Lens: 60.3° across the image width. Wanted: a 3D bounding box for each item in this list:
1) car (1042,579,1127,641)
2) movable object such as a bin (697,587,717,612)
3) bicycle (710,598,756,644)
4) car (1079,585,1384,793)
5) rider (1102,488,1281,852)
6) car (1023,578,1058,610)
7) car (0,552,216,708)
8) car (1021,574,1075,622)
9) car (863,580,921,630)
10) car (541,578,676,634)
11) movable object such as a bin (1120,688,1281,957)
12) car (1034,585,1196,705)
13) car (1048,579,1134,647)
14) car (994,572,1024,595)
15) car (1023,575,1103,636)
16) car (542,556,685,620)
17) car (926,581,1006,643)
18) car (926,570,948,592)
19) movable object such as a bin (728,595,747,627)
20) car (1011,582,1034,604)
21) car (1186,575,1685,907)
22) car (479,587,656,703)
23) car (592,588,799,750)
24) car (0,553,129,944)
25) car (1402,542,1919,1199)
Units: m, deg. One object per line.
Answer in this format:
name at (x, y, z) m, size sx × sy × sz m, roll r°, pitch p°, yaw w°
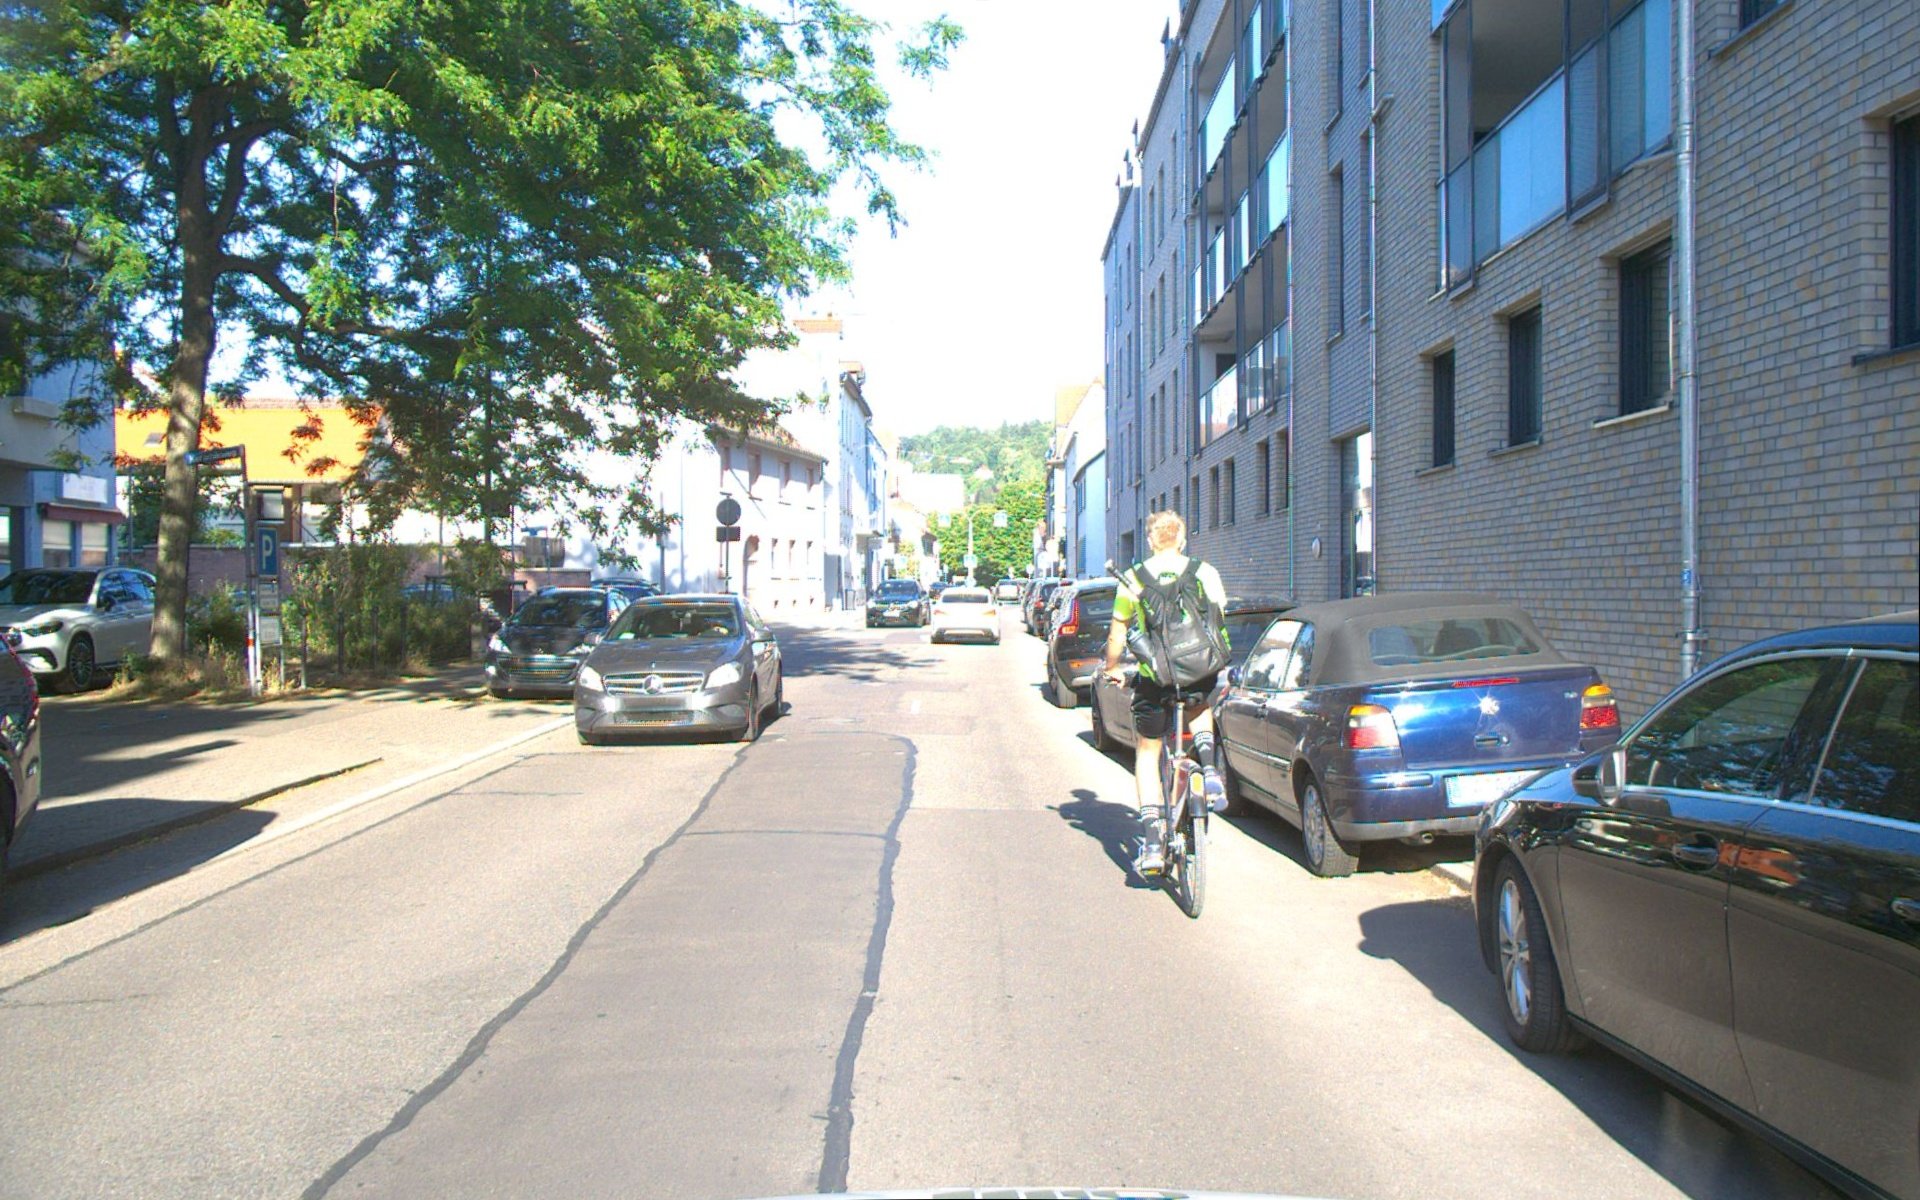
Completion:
car at (3.309, 0.225, 44.767) m, size 1.953 × 1.532 × 4.367 m, roll -1°, pitch 1°, yaw 0°
movable object such as a bin at (-8.837, -0.017, 57.806) m, size 0.586 × 0.887 × 0.606 m, roll 0°, pitch 0°, yaw -1°
bicycle at (-5.344, 0.481, 39.015) m, size 0.689 × 1.020 × 1.942 m, roll 0°, pitch 0°, yaw 4°
car at (2.221, 0.654, 14.829) m, size 1.663 × 1.493 × 4.717 m, roll -2°, pitch 0°, yaw -3°
rider at (1.074, 0.316, 7.876) m, size 0.640 × 1.589 × 1.083 m, roll 2°, pitch -1°, yaw -1°
car at (4.179, -0.325, 86.172) m, size 1.705 × 1.518 × 4.440 m, roll -3°, pitch 1°, yaw 2°
car at (-12.181, 0.335, 22.843) m, size 1.806 × 1.928 × 4.903 m, roll -1°, pitch 1°, yaw -3°
car at (3.306, -0.109, 62.789) m, size 1.816 × 1.664 × 4.624 m, roll -3°, pitch 1°, yaw 2°
car at (-2.313, 0.147, 57.166) m, size 1.900 × 1.603 × 4.318 m, roll -1°, pitch 0°, yaw -2°
car at (-10.928, 0.176, 51.617) m, size 3.689 × 1.556 × 2.001 m, roll -2°, pitch 1°, yaw 1°
movable object such as a bin at (1.111, 0.994, 7.944) m, size 0.445 × 1.051 × 1.840 m, roll 2°, pitch -1°, yaw -1°
car at (2.075, 0.553, 23.198) m, size 1.779 × 1.492 × 4.269 m, roll -1°, pitch 0°, yaw -1°
car at (3.101, 0.275, 39.846) m, size 1.678 × 1.428 × 4.073 m, roll -4°, pitch 1°, yaw 0°
car at (3.325, -1.145, 112.278) m, size 1.952 × 1.492 × 4.001 m, roll -1°, pitch 0°, yaw 1°
car at (3.052, 0.134, 49.878) m, size 1.953 × 1.682 × 4.762 m, roll -1°, pitch 1°, yaw -1°
car at (-11.557, -0.426, 55.313) m, size 4.273 × 1.825 × 1.989 m, roll 3°, pitch 3°, yaw 2°
car at (0.112, 0.279, 42.767) m, size 1.953 × 1.492 × 3.999 m, roll -1°, pitch 0°, yaw -1°
car at (-2.161, -1.812, 156.489) m, size 1.953 × 2.049 × 4.000 m, roll 0°, pitch 1°, yaw -1°
movable object such as a bin at (-7.919, 0.390, 58.892) m, size 0.586 × 1.113 × 0.751 m, roll 0°, pitch 0°, yaw 1°
car at (5.653, -0.632, 150.942) m, size 1.970 × 1.885 × 4.000 m, roll 0°, pitch 1°, yaw 0°
car at (2.623, 0.670, 10.199) m, size 1.630 × 1.542 × 4.217 m, roll -3°, pitch 0°, yaw -3°
car at (-5.623, 0.581, 24.140) m, size 1.662 × 1.518 × 3.999 m, roll -1°, pitch 0°, yaw -1°
car at (-2.688, 0.635, 17.632) m, size 1.771 × 1.492 × 3.997 m, roll -1°, pitch 0°, yaw -4°
car at (-5.151, 0.643, 5.853) m, size 1.892 × 1.735 × 5.099 m, roll 2°, pitch 0°, yaw -1°
car at (2.706, 0.644, 4.340) m, size 1.690 × 1.556 × 4.625 m, roll -4°, pitch 0°, yaw -1°
